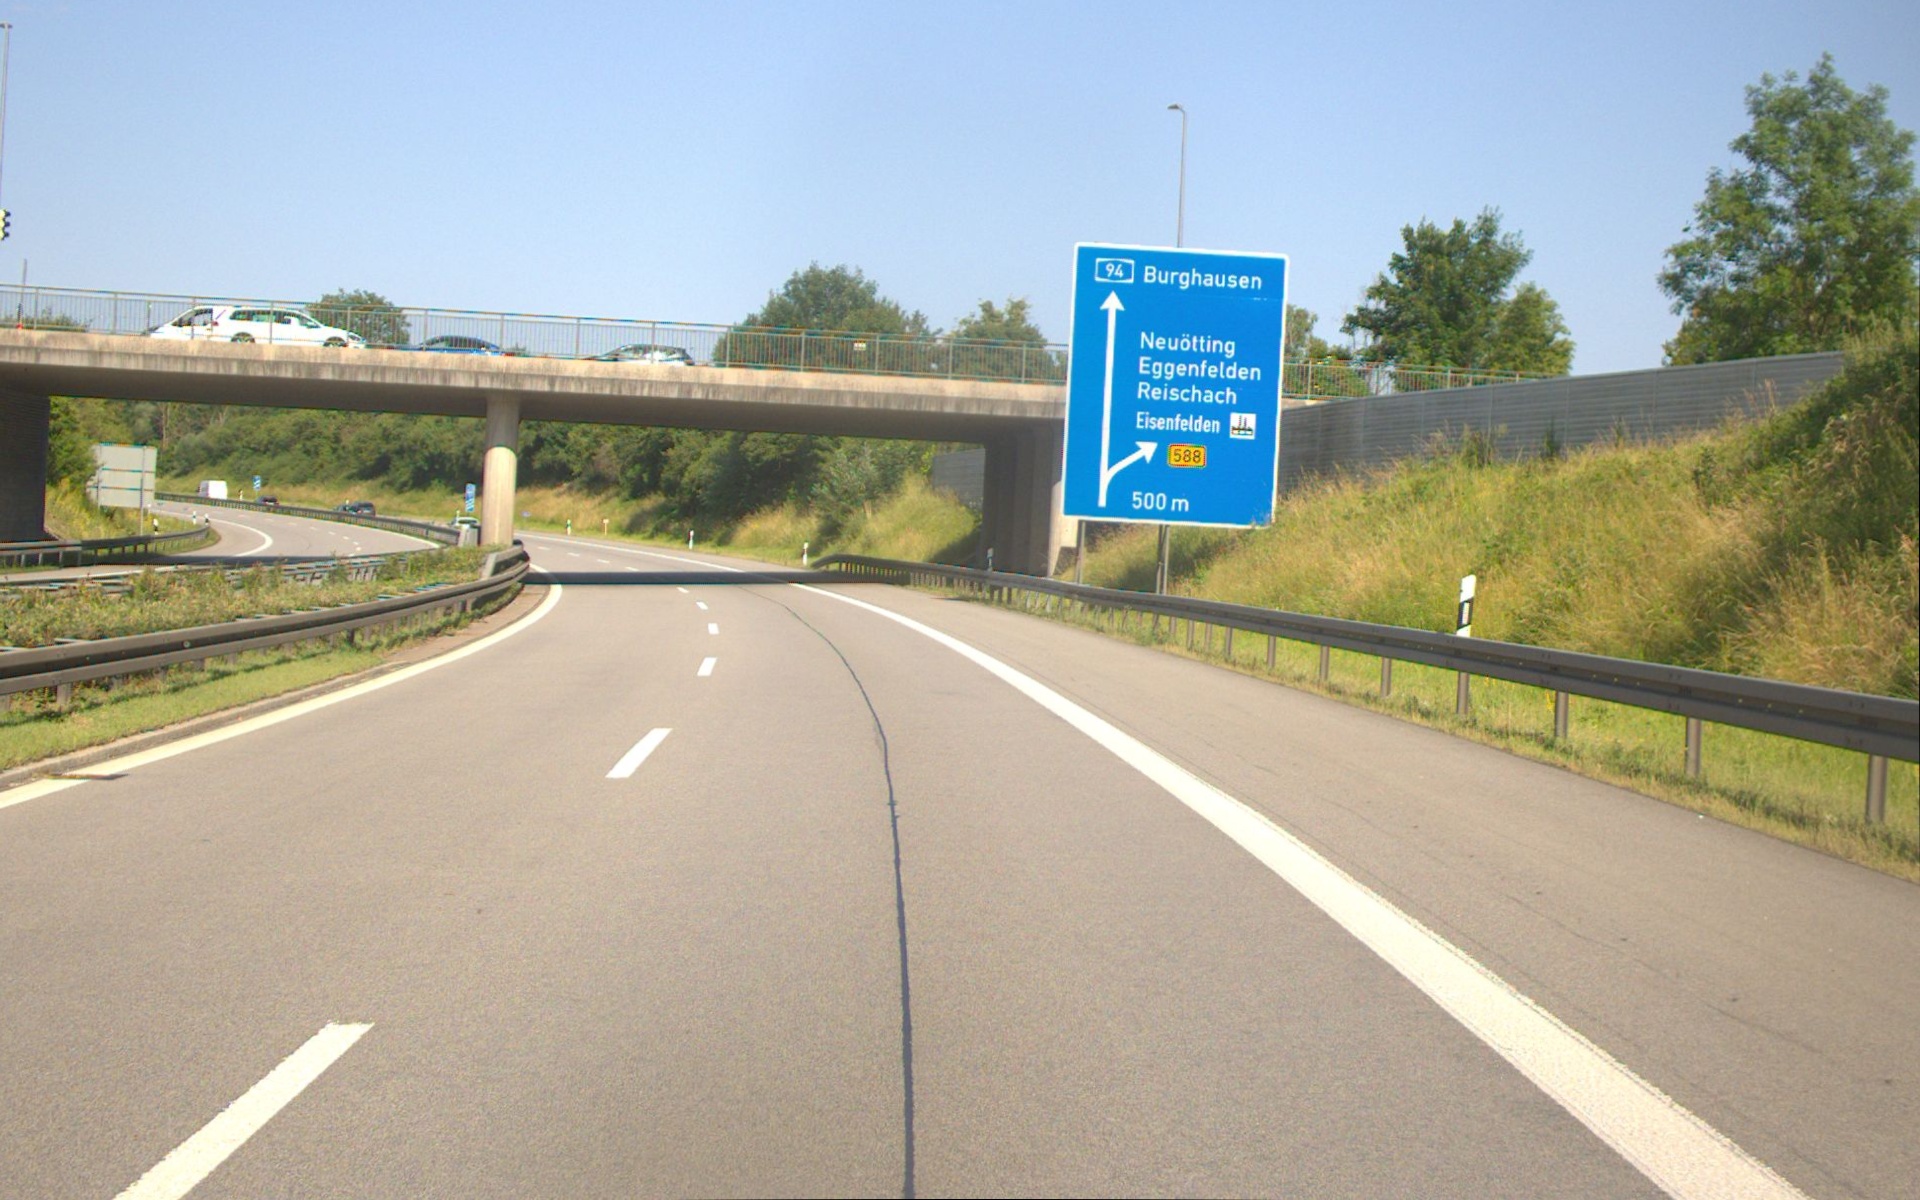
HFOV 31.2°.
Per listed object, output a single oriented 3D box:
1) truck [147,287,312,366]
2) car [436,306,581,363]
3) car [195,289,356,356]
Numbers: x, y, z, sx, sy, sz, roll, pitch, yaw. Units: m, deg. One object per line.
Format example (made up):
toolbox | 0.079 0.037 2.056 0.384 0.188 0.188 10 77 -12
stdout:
truck | -22.410 -8.390 105.626 4.855 2.160 2.001 1 0 -10
car | -14.036 -8.245 106.814 4.427 1.550 1.907 1 0 -8
car | -19.937 -8.072 100.236 4.400 1.592 2.000 2 0 -7
